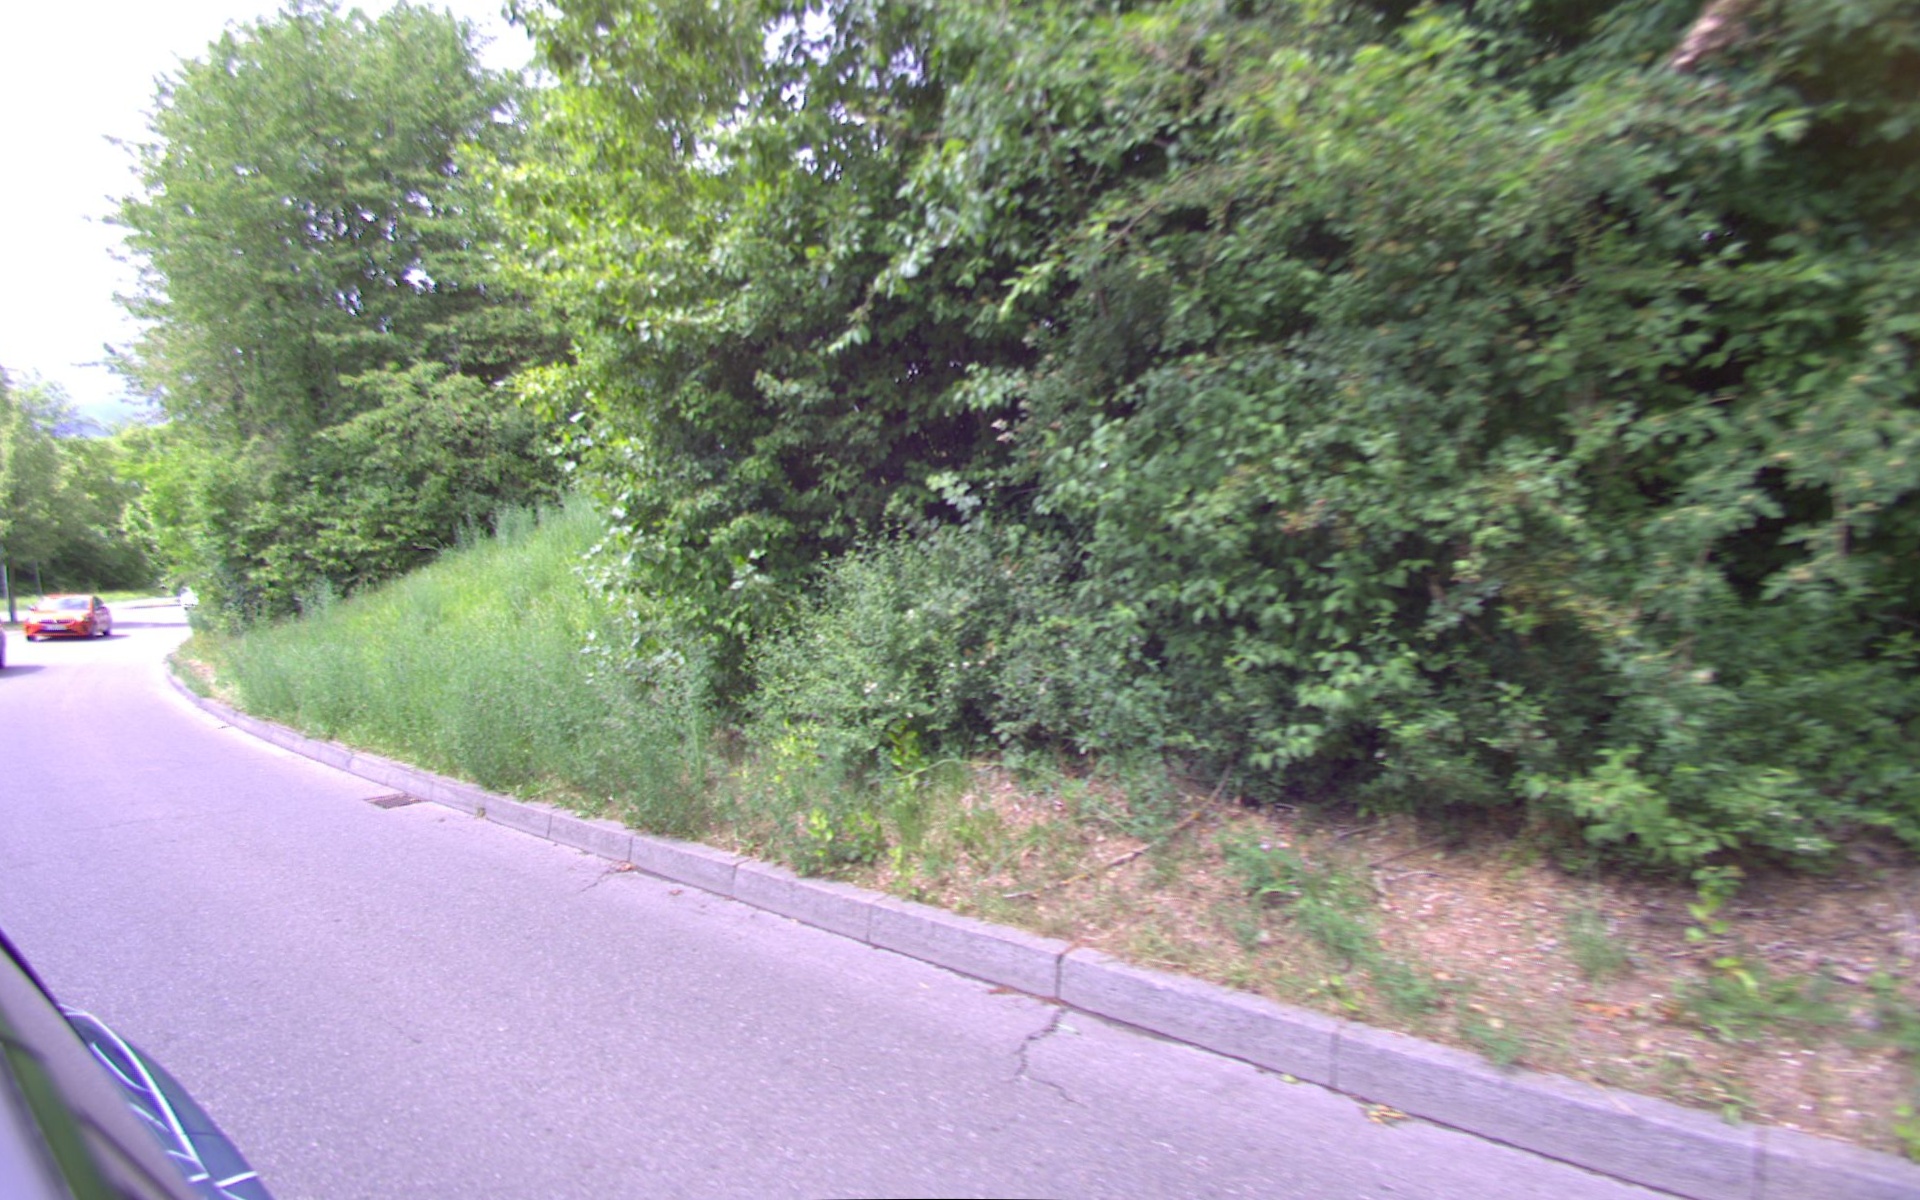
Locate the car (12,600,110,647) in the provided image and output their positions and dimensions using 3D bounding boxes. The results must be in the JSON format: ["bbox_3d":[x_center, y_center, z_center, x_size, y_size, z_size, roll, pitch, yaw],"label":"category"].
[{"bbox_3d":[-29.555,0.718,33.387,1.767,1.424,4.125,1,0,-32],"label":"car"}]

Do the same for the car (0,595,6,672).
[{"bbox_3d":[-21.233,0.779,20.805,1.882,1.711,4.397,0,1,-37],"label":"car"}]

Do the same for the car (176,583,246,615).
[{"bbox_3d":[-39.028,-0.056,52.833,1.766,1.520,4.126,-2,1,-20],"label":"car"}]
